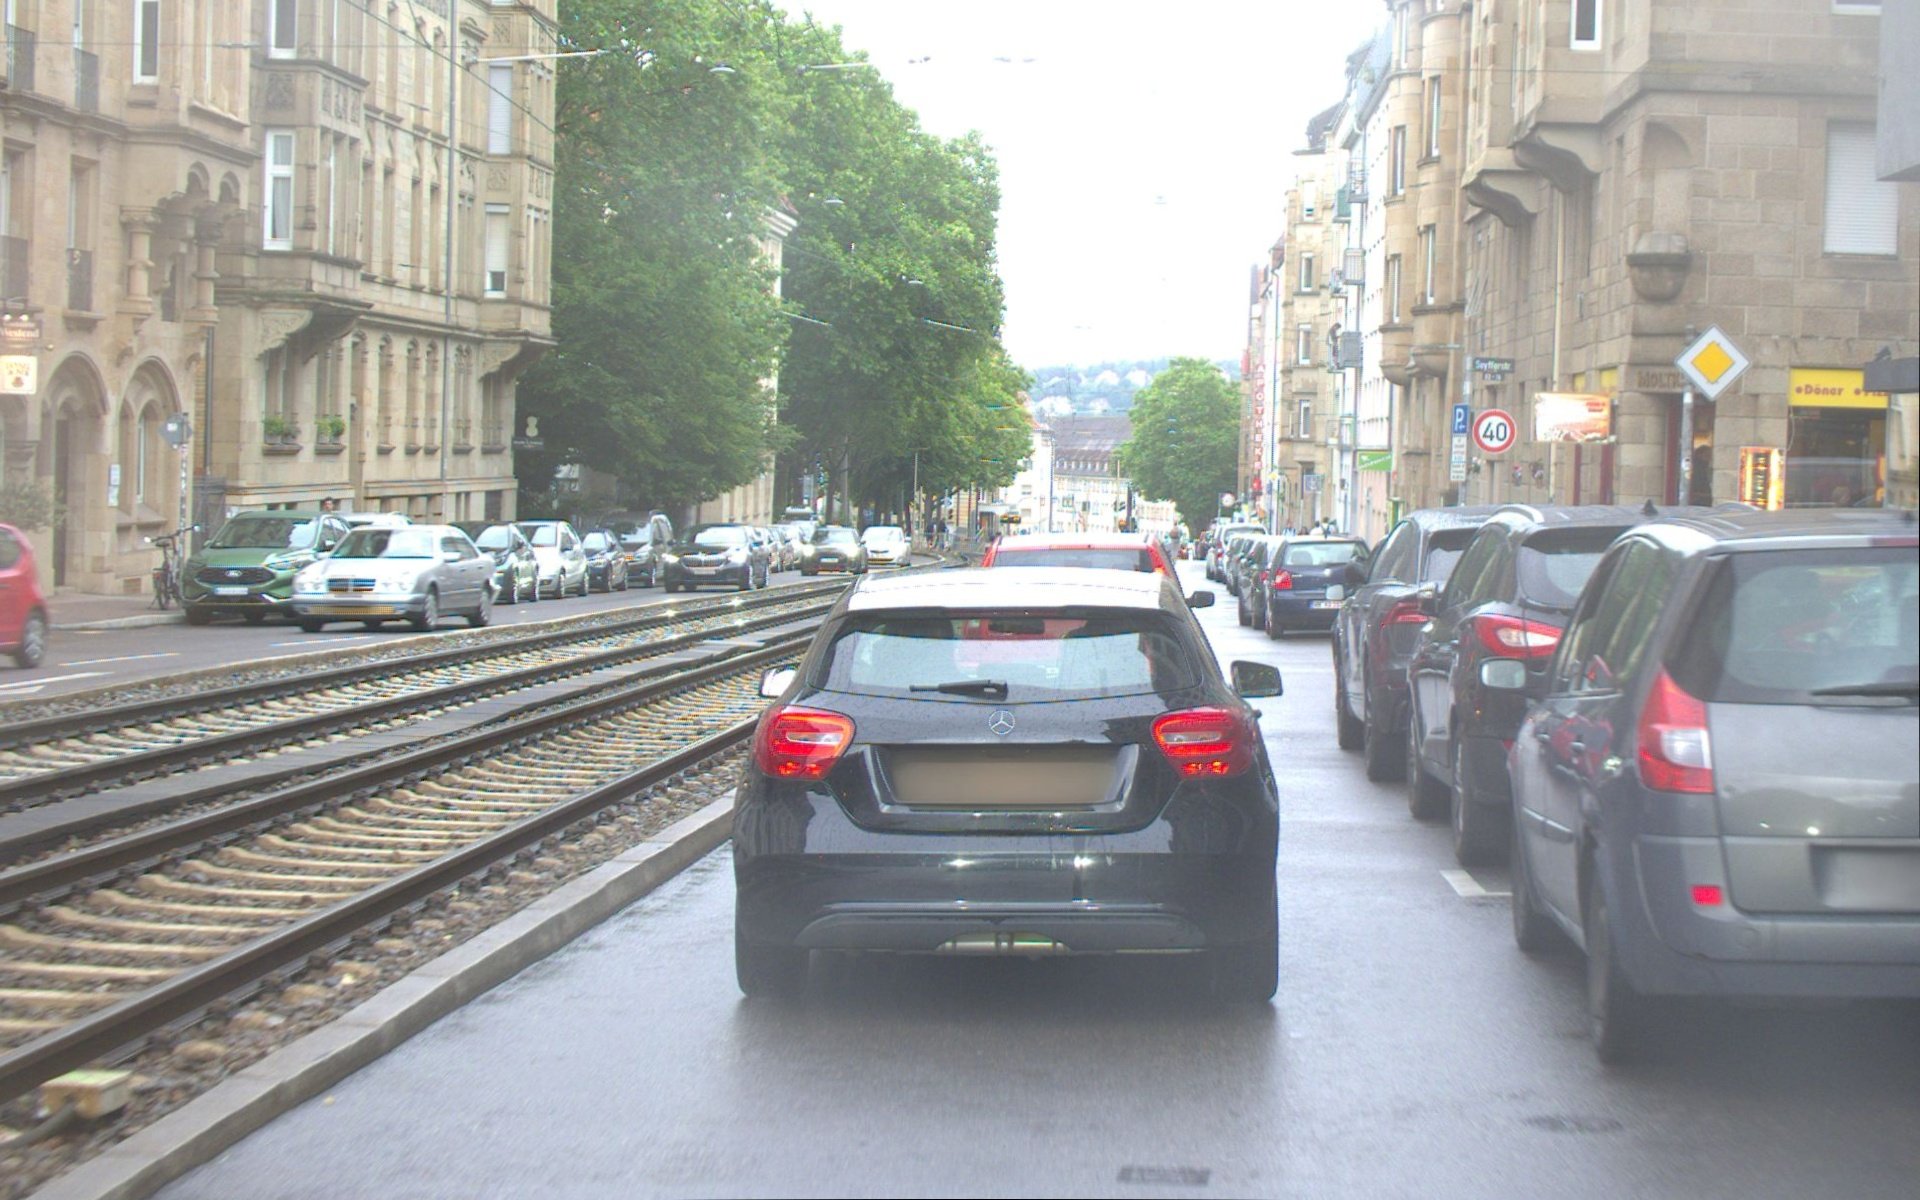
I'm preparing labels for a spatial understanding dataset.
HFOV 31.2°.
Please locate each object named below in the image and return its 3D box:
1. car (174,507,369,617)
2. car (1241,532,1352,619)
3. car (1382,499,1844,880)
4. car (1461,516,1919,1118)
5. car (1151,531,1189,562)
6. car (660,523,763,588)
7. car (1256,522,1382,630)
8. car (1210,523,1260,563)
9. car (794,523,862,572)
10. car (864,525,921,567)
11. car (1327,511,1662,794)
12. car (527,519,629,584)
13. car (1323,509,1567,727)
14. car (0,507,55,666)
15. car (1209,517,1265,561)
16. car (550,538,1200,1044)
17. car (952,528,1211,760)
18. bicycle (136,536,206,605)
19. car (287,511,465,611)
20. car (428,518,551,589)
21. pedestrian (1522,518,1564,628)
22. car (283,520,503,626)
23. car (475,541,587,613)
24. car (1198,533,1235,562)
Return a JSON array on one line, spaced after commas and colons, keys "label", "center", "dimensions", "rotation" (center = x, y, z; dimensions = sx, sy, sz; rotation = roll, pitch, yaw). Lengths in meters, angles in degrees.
[{"label": "car", "center": [-9.958, -0.578, 49.969], "dimensions": [1.722, 1.536, 3.933], "rotation": [0, 1, 5]}, {"label": "car", "center": [5.305, -0.420, 54.589], "dimensions": [1.613, 1.313, 4.000], "rotation": [0, 1, 4]}, {"label": "car", "center": [3.117, 0.346, 17.150], "dimensions": [1.683, 1.664, 4.122], "rotation": [0, 1, 3]}, {"label": "car", "center": [2.730, 0.515, 11.242], "dimensions": [1.765, 1.553, 4.745], "rotation": [0, 1, 4]}, {"label": "car", "center": [9.185, -2.351, 150.381], "dimensions": [1.613, 1.313, 4.000], "rotation": [0, 1, 4]}, {"label": "car", "center": [-5.427, -0.986, 75.446], "dimensions": [1.695, 1.384, 3.480], "rotation": [0, 1, 5]}, {"label": "car", "center": [5.116, -0.381, 49.329], "dimensions": [1.622, 1.479, 4.000], "rotation": [0, 1, 4]}, {"label": "car", "center": [9.326, -1.937, 116.658], "dimensions": [1.613, 1.313, 4.000], "rotation": [0, 1, 4]}, {"label": "car", "center": [-3.888, -1.556, 101.611], "dimensions": [1.569, 1.408, 3.480], "rotation": [0, 1, 5]}, {"label": "car", "center": [-2.295, -1.879, 118.028], "dimensions": [1.569, 1.408, 3.480], "rotation": [0, 1, 5]}, {"label": "car", "center": [3.403, 0.254, 22.644], "dimensions": [1.750, 1.664, 4.703], "rotation": [0, 1, 4]}, {"label": "car", "center": [-8.438, -1.085, 76.197], "dimensions": [1.569, 1.408, 3.480], "rotation": [0, 1, 5]}, {"label": "car", "center": [3.792, 0.089, 27.402], "dimensions": [1.613, 1.599, 4.000], "rotation": [0, 1, 4]}, {"label": "car", "center": [-9.868, -0.127, 32.091], "dimensions": [1.681, 1.492, 3.518], "rotation": [0, 1, 4]}, {"label": "car", "center": [8.477, -1.875, 105.363], "dimensions": [1.613, 1.313, 4.000], "rotation": [0, 1, 4]}, {"label": "car", "center": [-0.131, 0.544, 12.500], "dimensions": [1.867, 1.447, 3.999], "rotation": [2, 2, 5]}, {"label": "car", "center": [0.900, 0.244, 24.439], "dimensions": [1.649, 1.447, 4.000], "rotation": [2, 2, 3]}, {"label": "bicycle", "center": [-11.798, -0.455, 51.445], "dimensions": [0.598, 0.997, 2.080], "rotation": [0, 1, -1]}, {"label": "car", "center": [-9.633, -0.670, 57.061], "dimensions": [1.807, 1.591, 4.525], "rotation": [0, 1, 5]}, {"label": "car", "center": [-8.969, -0.904, 65.744], "dimensions": [1.569, 1.312, 3.480], "rotation": [0, 1, 5]}, {"label": "pedestrian", "center": [7.855, -0.363, 46.336], "dimensions": [0.454, 1.461, 0.610], "rotation": [1, 1, 3]}, {"label": "car", "center": [-7.663, -0.402, 46.882], "dimensions": [1.807, 1.356, 4.762], "rotation": [0, 1, 5]}, {"label": "car", "center": [-8.748, -0.492, 70.353], "dimensions": [1.569, 1.408, 3.480], "rotation": [0, 1, 5]}, {"label": "car", "center": [12.120, -2.501, 162.585], "dimensions": [1.613, 1.313, 4.000], "rotation": [2, 1, 4]}]
